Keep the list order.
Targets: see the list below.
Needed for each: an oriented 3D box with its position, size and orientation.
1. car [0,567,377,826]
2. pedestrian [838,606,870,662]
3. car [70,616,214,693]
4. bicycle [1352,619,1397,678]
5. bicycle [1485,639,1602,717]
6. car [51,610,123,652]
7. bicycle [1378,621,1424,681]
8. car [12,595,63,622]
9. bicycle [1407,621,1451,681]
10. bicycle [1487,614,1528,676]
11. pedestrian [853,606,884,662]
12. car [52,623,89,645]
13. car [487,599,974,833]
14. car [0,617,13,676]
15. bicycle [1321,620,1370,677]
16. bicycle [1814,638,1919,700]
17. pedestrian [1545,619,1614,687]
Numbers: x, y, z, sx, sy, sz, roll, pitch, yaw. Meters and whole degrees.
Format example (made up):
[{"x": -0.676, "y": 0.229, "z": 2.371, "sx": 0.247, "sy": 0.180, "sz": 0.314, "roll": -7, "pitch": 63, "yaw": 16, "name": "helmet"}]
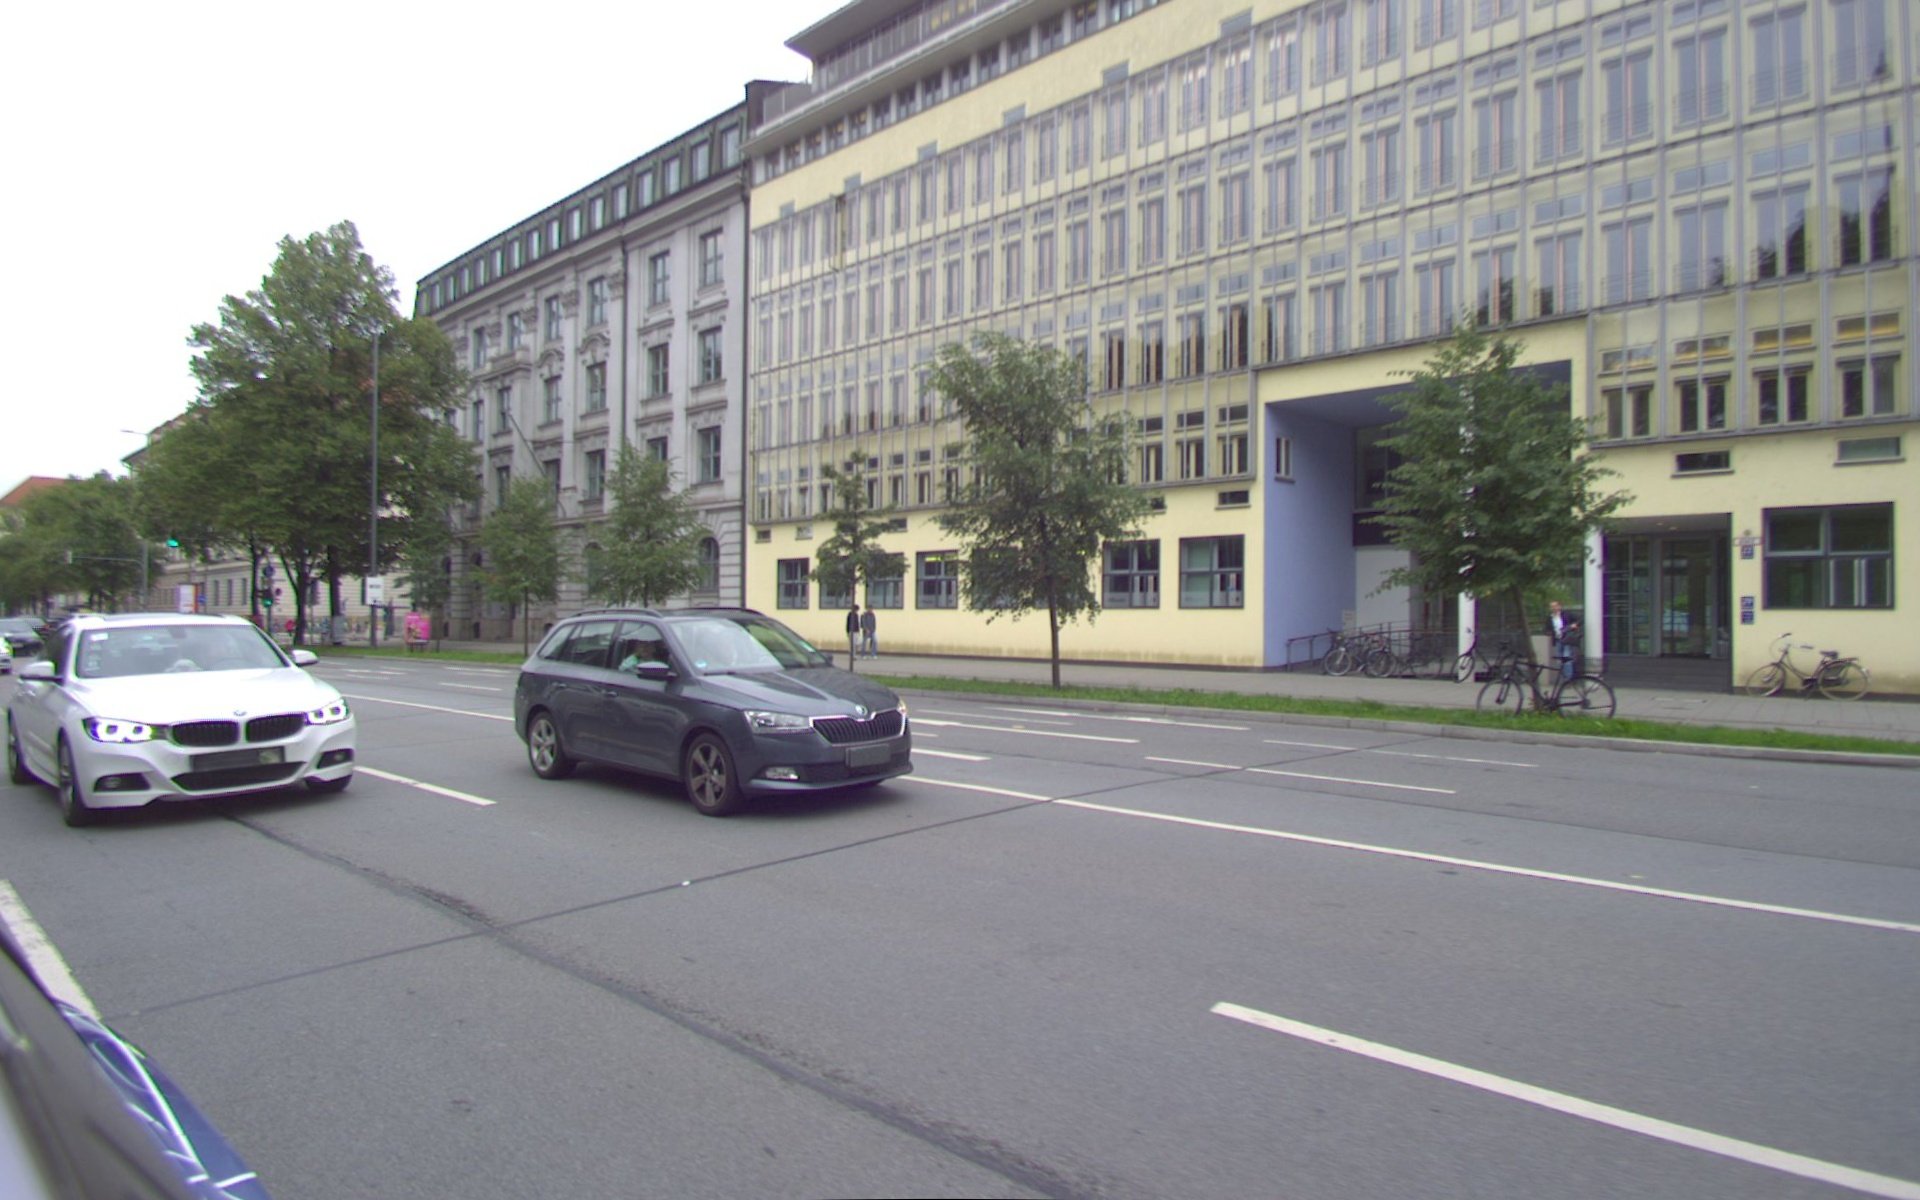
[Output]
[{"x": -6.967, "y": 0.642, "z": 8.772, "sx": 5.024, "sy": 1.649, "sz": 1.774, "roll": 0, "pitch": -1, "yaw": 41, "name": "car"}, {"x": -3.440, "y": 1.084, "z": 32.699, "sx": 0.835, "sy": 1.790, "sz": 0.609, "roll": -1, "pitch": 0, "yaw": 42, "name": "pedestrian"}, {"x": -17.934, "y": 1.118, "z": 22.133, "sx": 4.336, "sy": 1.528, "sz": 1.674, "roll": -1, "pitch": -2, "yaw": 41, "name": "car"}, {"x": 10.112, "y": 1.159, "z": 24.652, "sx": 0.573, "sy": 1.328, "sz": 1.990, "roll": -1, "pitch": 0, "yaw": 36, "name": "bicycle"}, {"x": 8.129, "y": 1.072, "z": 14.128, "sx": 1.382, "sy": 1.020, "sz": 0.278, "roll": -1, "pitch": 0, "yaw": 38, "name": "bicycle"}, {"x": -39.284, "y": 1.389, "z": 45.512, "sx": 4.628, "sy": 1.762, "sz": 1.837, "roll": -1, "pitch": -3, "yaw": 42, "name": "car"}, {"x": 10.582, "y": 1.196, "z": 24.251, "sx": 0.573, "sy": 1.328, "sz": 1.990, "roll": -1, "pitch": 0, "yaw": 36, "name": "bicycle"}, {"x": -53.388, "y": 0.529, "z": 58.545, "sx": 4.746, "sy": 1.434, "sz": 1.748, "roll": -1, "pitch": -3, "yaw": 43, "name": "car"}, {"x": 11.081, "y": 1.174, "z": 23.884, "sx": 0.573, "sy": 1.328, "sz": 1.990, "roll": -1, "pitch": 0, "yaw": 36, "name": "bicycle"}, {"x": 12.551, "y": 1.002, "z": 23.162, "sx": 0.573, "sy": 1.328, "sz": 1.990, "roll": -1, "pitch": 0, "yaw": 36, "name": "bicycle"}, {"x": -2.996, "y": 1.101, "z": 33.176, "sx": 0.835, "sy": 1.790, "sz": 0.609, "roll": -1, "pitch": 0, "yaw": 42, "name": "pedestrian"}, {"x": -67.891, "y": 2.584, "z": 77.234, "sx": 4.221, "sy": 1.583, "sz": 1.617, "roll": -2, "pitch": -2, "yaw": 42, "name": "car"}, {"x": -2.075, "y": 0.751, "z": 8.403, "sx": 4.273, "sy": 1.458, "sz": 1.774, "roll": 0, "pitch": -1, "yaw": 41, "name": "car"}, {"x": -26.158, "y": 1.180, "z": 26.332, "sx": 4.273, "sy": 1.458, "sz": 1.774, "roll": 0, "pitch": -1, "yaw": 41, "name": "car"}, {"x": 9.646, "y": 1.173, "z": 25.276, "sx": 0.637, "sy": 1.328, "sz": 1.990, "roll": -1, "pitch": 0, "yaw": 36, "name": "bicycle"}, {"x": 16.106, "y": 1.201, "z": 17.829, "sx": 1.591, "sy": 1.020, "sz": 0.567, "roll": -1, "pitch": 0, "yaw": 38, "name": "bicycle"}, {"x": 12.875, "y": 1.084, "z": 21.025, "sx": 1.086, "sy": 1.375, "sz": 0.829, "roll": -1, "pitch": -2, "yaw": 41, "name": "pedestrian"}]
